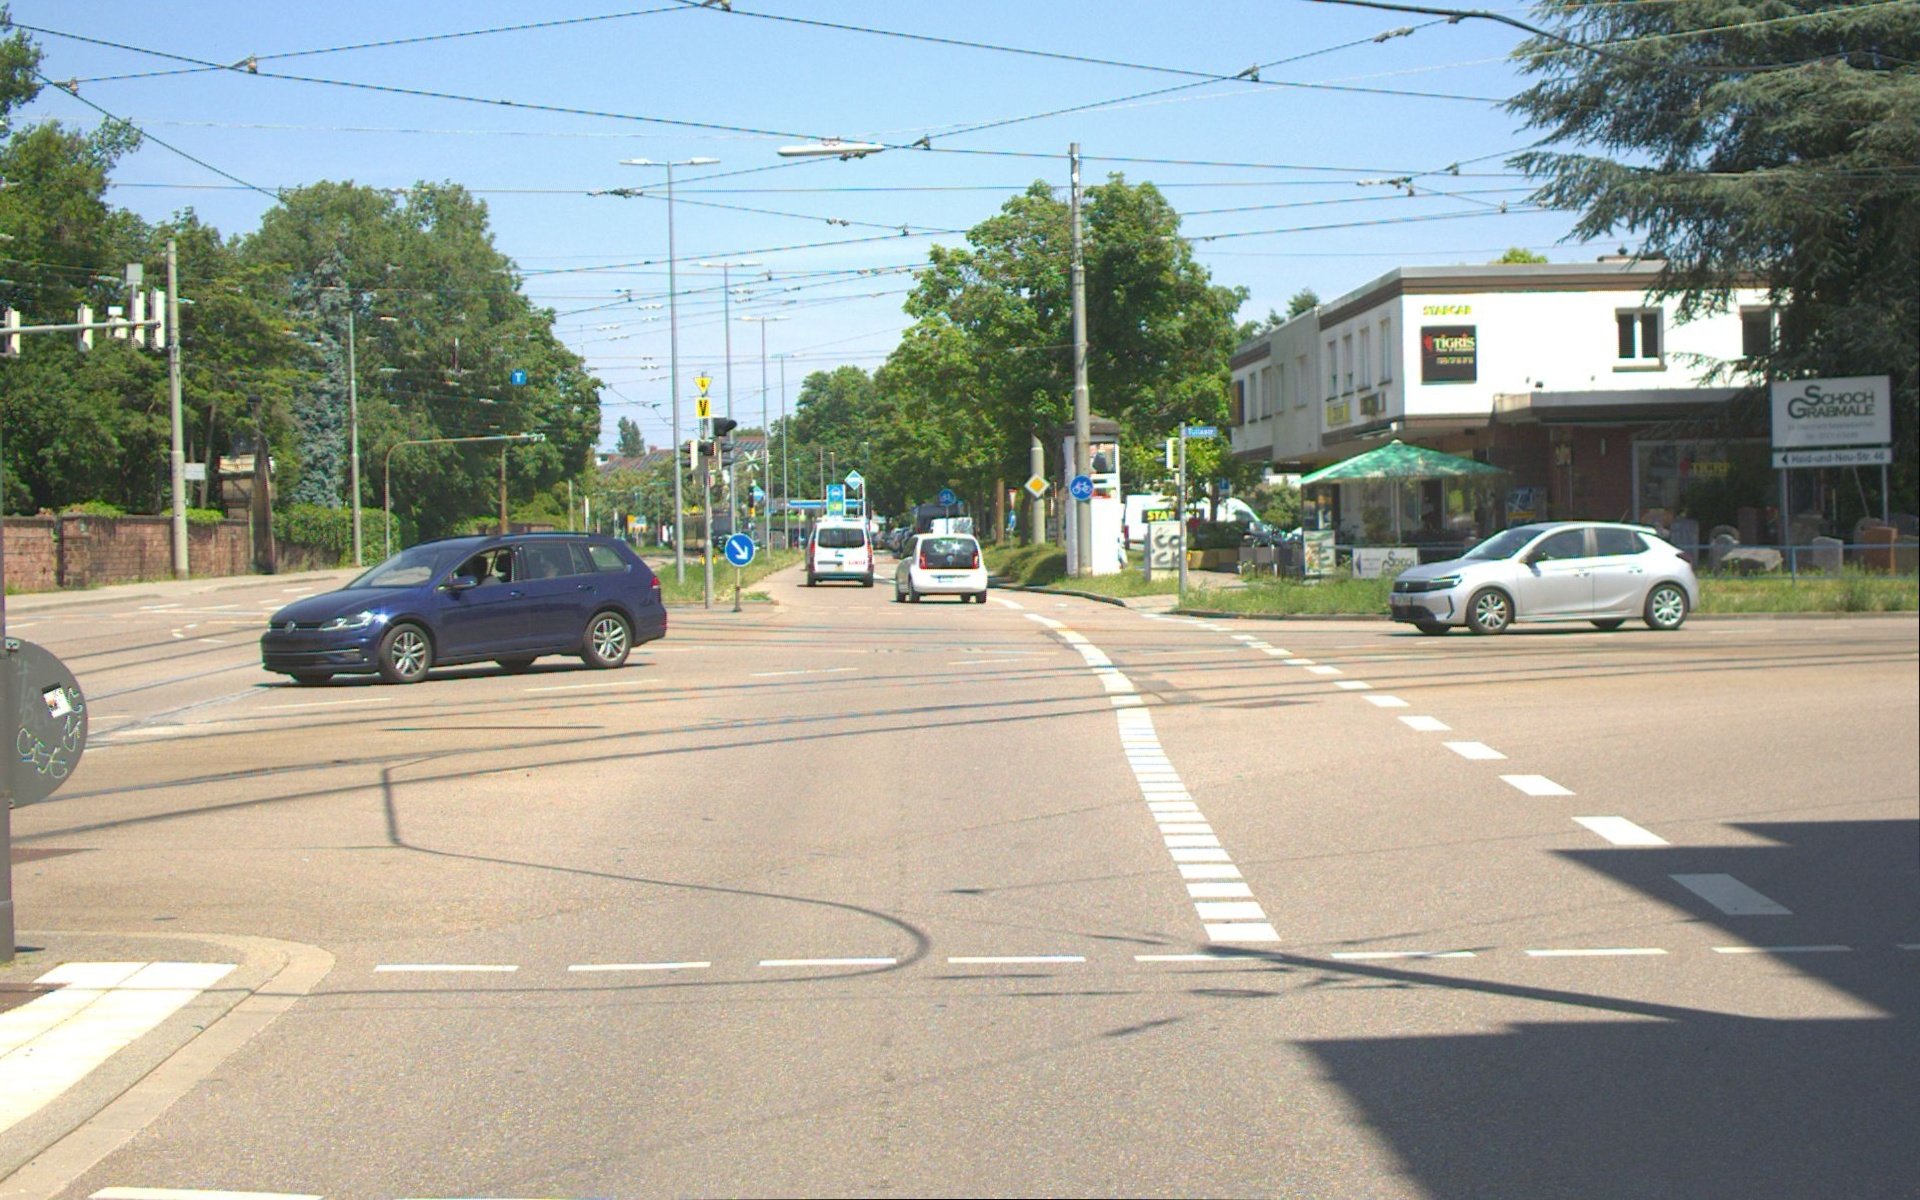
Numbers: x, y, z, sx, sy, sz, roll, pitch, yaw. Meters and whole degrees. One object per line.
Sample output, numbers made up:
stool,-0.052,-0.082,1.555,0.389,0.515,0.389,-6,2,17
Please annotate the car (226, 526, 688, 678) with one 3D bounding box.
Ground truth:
car,-5.199,-0.019,35.874,4.466,1.437,1.862,-2,2,-42

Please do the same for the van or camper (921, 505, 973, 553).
van or camper,-0.508,-2.703,130.361,1.922,1.766,4.000,-1,1,-1

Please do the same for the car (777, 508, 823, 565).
car,-5.776,-2.281,123.770,1.419,2.007,3.631,-1,1,-6

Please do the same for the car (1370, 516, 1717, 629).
car,7.562,-0.376,44.597,4.037,1.358,1.824,-1,1,-19

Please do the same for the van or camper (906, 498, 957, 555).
van or camper,-1.268,-3.263,152.826,1.993,2.456,4.001,-1,1,-4

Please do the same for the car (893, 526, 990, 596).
car,-0.411,-0.851,73.004,1.670,1.430,3.475,-1,1,-6

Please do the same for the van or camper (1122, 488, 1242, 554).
van or camper,9.240,-3.302,143.381,4.756,2.662,2.136,-1,1,-3

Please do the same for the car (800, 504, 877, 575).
car,-3.302,-1.658,92.916,1.993,1.853,4.001,0,2,-3

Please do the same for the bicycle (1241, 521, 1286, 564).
bicycle,7.467,-1.423,84.491,1.034,1.011,2.636,-1,1,6
